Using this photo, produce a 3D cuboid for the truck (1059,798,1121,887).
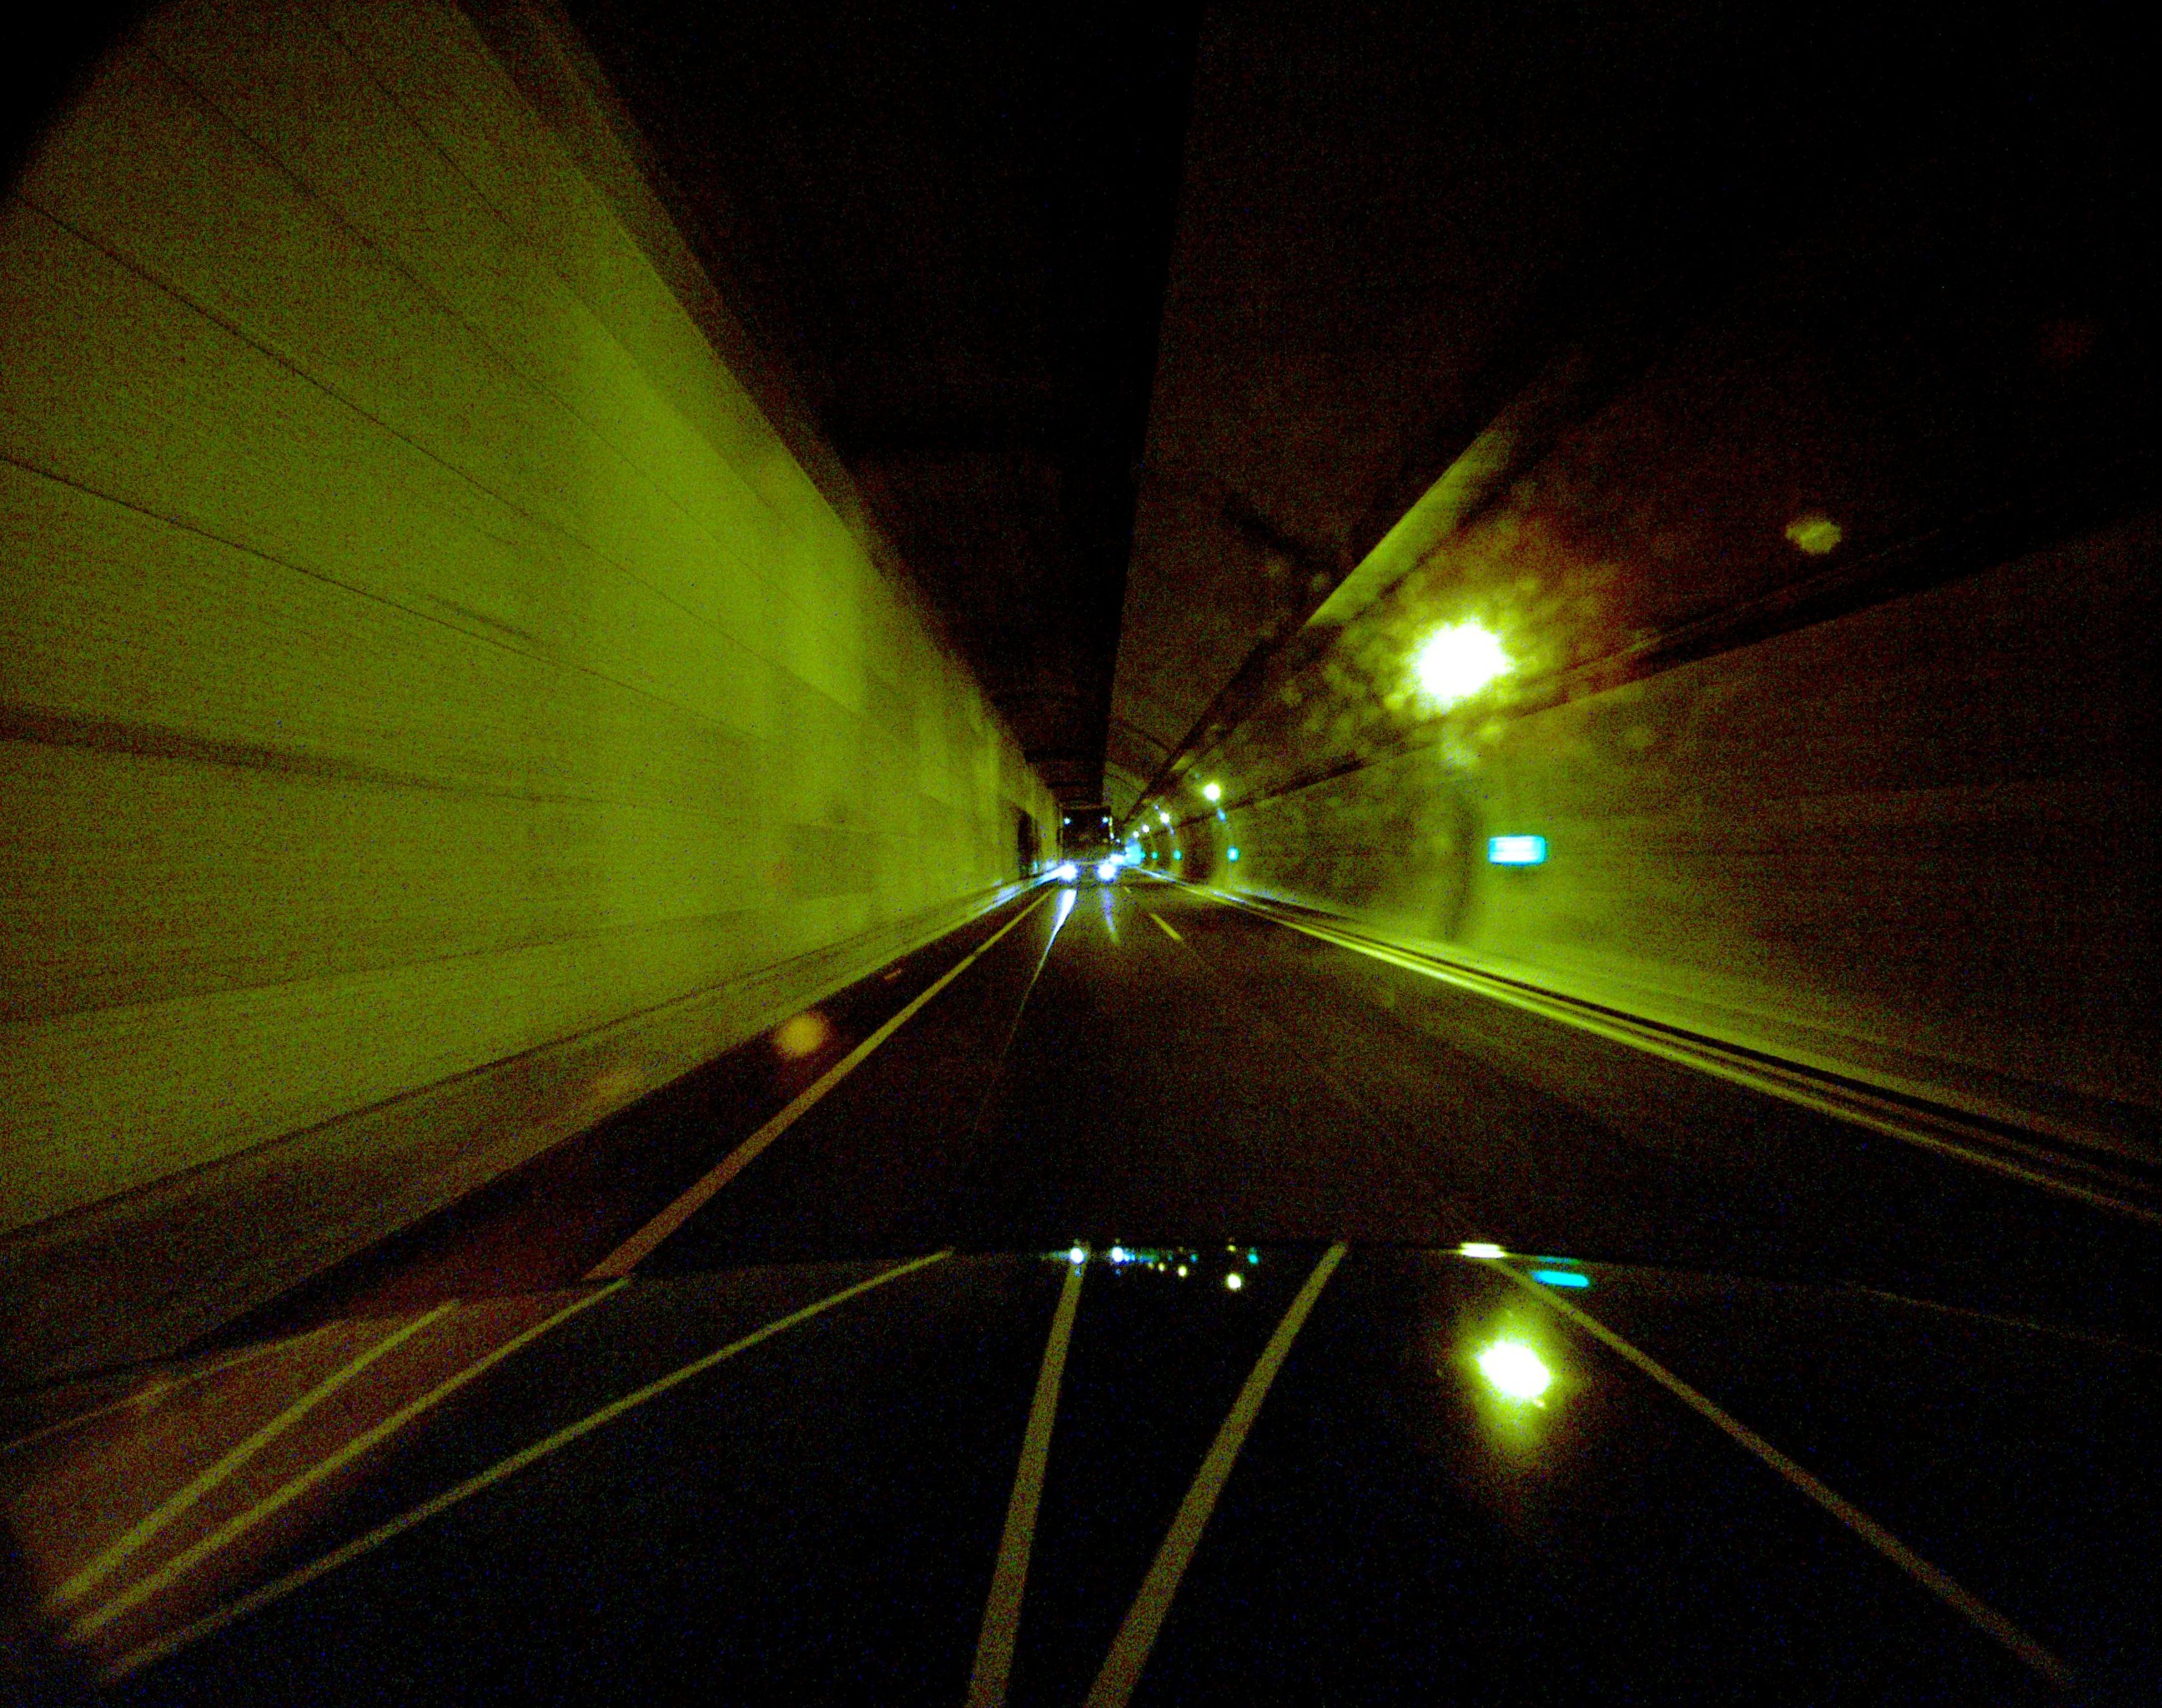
[{"bbox_3d":[0.469,-0.600,40.736,2.769,4.198,7.976,-3,1,0],"label":"truck"}]
